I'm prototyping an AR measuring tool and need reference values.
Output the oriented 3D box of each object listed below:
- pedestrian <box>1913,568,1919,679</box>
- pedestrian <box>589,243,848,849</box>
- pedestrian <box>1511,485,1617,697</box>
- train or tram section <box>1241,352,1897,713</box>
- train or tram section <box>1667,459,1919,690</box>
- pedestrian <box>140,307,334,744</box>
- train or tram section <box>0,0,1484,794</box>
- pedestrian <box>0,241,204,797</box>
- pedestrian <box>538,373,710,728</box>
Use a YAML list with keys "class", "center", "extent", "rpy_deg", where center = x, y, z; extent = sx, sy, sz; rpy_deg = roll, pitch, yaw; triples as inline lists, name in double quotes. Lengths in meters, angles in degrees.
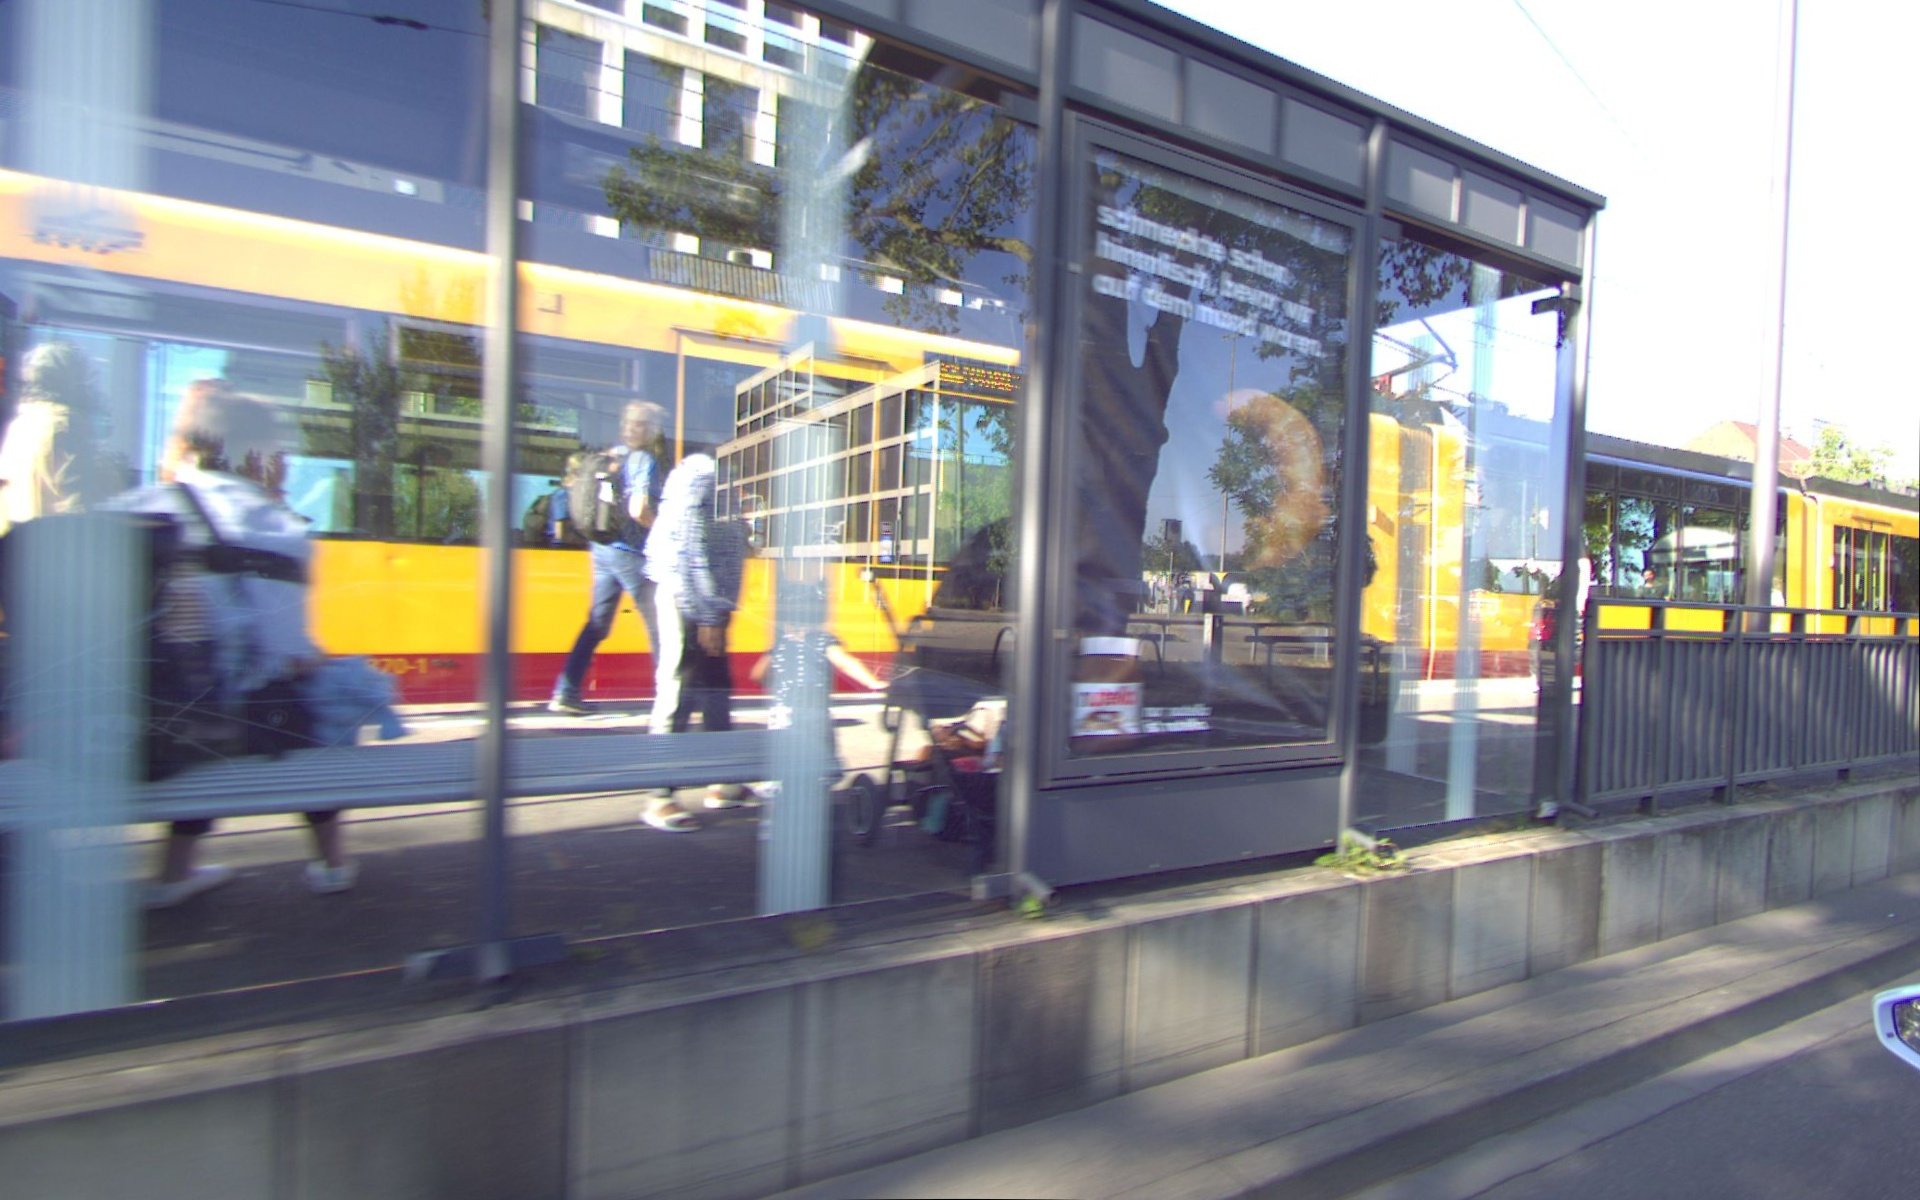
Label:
- class: "pedestrian"
  center: [15.424, 0.381, 15.642]
  extent: [0.606, 1.736, 0.654]
  rpy_deg: [1, 2, -32]
- class: "pedestrian"
  center: [-0.842, -0.158, 3.434]
  extent: [0.673, 1.808, 0.607]
  rpy_deg: [1, 1, -30]
- class: "pedestrian"
  center: [5.718, -0.080, 9.513]
  extent: [0.636, 1.930, 0.550]
  rpy_deg: [1, 1, -30]
- class: "train or tram section"
  center: [9.741, -0.631, 15.244]
  extent: [11.706, 3.881, 3.292]
  rpy_deg: [2, 1, -31]
- class: "train or tram section"
  center: [19.812, -0.343, 21.282]
  extent: [11.706, 3.881, 3.292]
  rpy_deg: [2, 1, -31]
- class: "pedestrian"
  center: [-3.311, -0.311, 4.664]
  extent: [0.618, 1.808, 0.789]
  rpy_deg: [1, 1, -30]
- class: "train or tram section"
  center: [-1.309, -0.954, 8.610]
  extent: [14.054, 3.881, 3.292]
  rpy_deg: [2, 1, -31]
- class: "pedestrian"
  center: [-3.389, -0.273, 3.678]
  extent: [0.779, 1.808, 0.649]
  rpy_deg: [3, 1, 20]
- class: "pedestrian"
  center: [-1.874, -0.248, 5.577]
  extent: [0.766, 1.808, 0.608]
  rpy_deg: [1, 1, -30]
